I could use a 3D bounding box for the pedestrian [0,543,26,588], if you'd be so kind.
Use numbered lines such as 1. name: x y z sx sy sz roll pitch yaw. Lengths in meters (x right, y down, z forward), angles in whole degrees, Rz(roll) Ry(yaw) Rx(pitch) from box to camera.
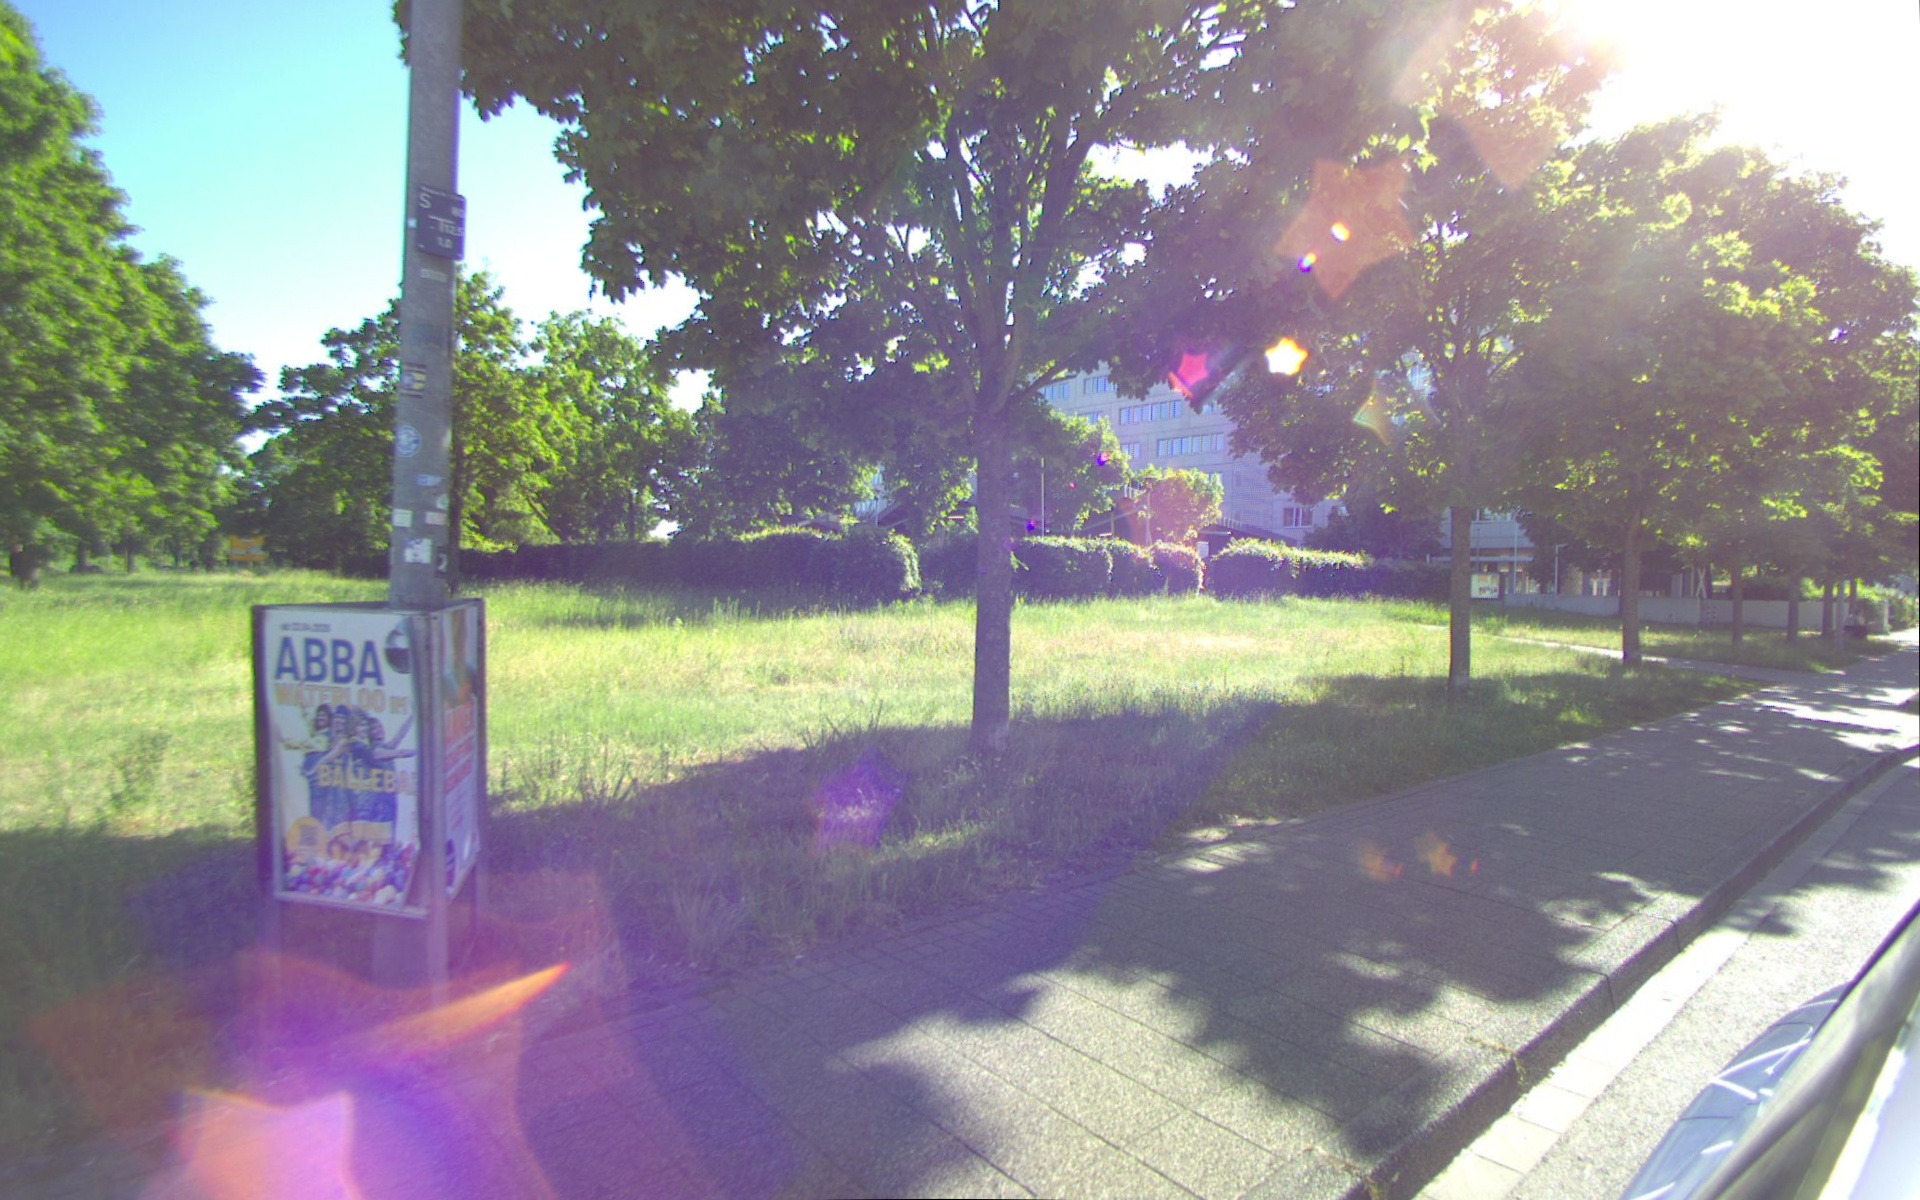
1. pedestrian: -37.779 -1.369 40.309 0.726 1.748 0.888 1 1 -38

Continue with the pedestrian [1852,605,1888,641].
1. pedestrian: 33.023 0.811 36.750 0.842 1.232 0.719 3 2 36
